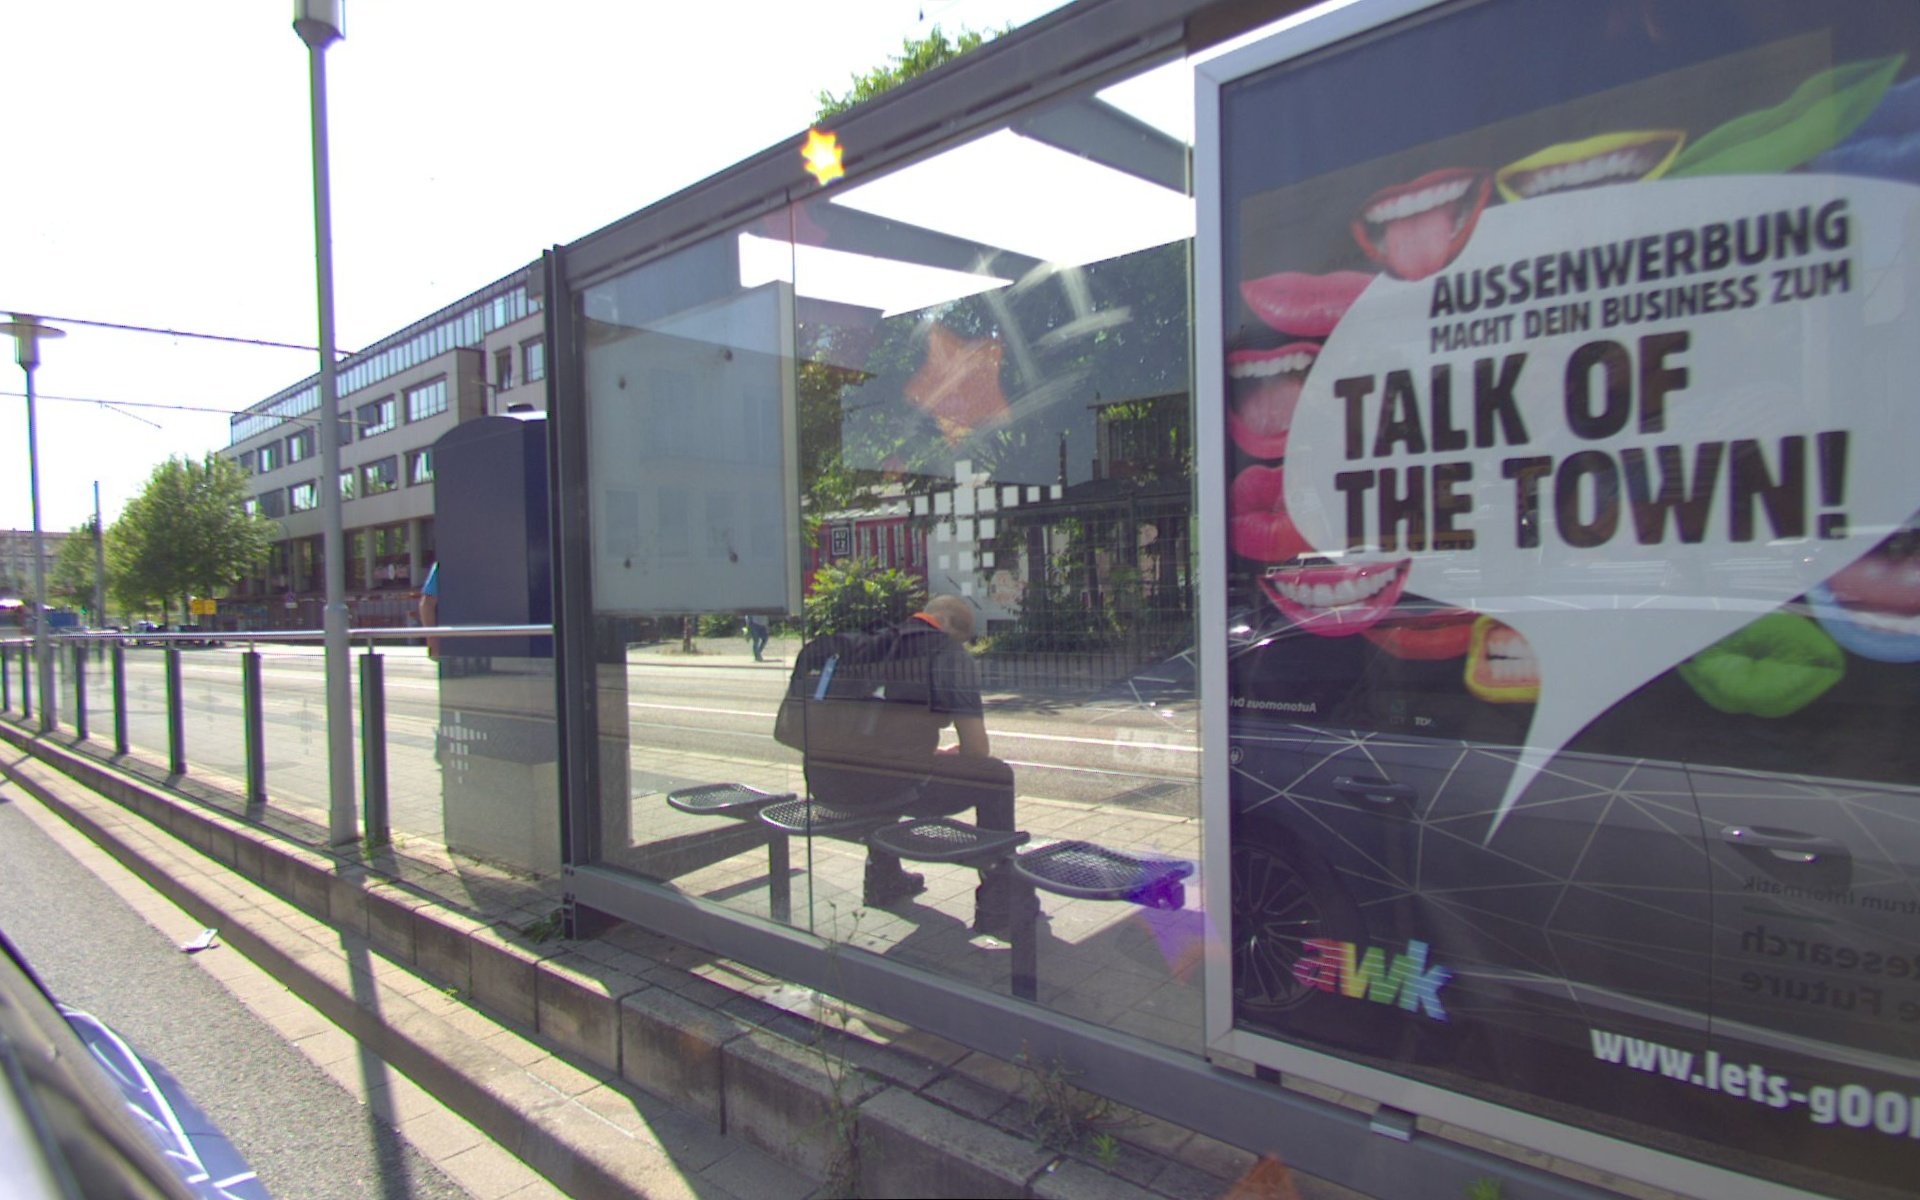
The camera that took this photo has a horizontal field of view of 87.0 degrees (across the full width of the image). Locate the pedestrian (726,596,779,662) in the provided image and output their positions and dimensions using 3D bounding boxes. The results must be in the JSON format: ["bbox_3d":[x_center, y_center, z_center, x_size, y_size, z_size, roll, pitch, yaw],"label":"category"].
[{"bbox_3d":[-4.968,0.686,24.238,0.845,1.538,0.862,-2,0,40],"label":"pedestrian"}]

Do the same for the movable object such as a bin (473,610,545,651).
[{"bbox_3d":[-23.524,1.570,52.782,3.157,2.029,1.734,-2,-1,21],"label":"movable object such as a bin"}]

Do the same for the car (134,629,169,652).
[{"bbox_3d":[-60.977,3.007,76.341,1.844,1.630,4.005,-1,-1,-42],"label":"car"}]

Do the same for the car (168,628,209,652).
[{"bbox_3d":[-54.861,2.839,71.939,1.969,1.635,4.005,-1,-1,-42],"label":"car"}]

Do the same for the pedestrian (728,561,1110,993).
[{"bbox_3d":[-0.107,0.456,3.205,0.726,1.107,0.933,-3,0,40],"label":"pedestrian"}]

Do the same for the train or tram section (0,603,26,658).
[{"bbox_3d":[-66.721,2.154,69.311,12.320,3.511,2.646,-2,0,41],"label":"train or tram section"}]

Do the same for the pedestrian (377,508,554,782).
[{"bbox_3d":[-3.424,0.289,7.001,0.944,1.737,0.716,-3,0,41],"label":"pedestrian"}]
